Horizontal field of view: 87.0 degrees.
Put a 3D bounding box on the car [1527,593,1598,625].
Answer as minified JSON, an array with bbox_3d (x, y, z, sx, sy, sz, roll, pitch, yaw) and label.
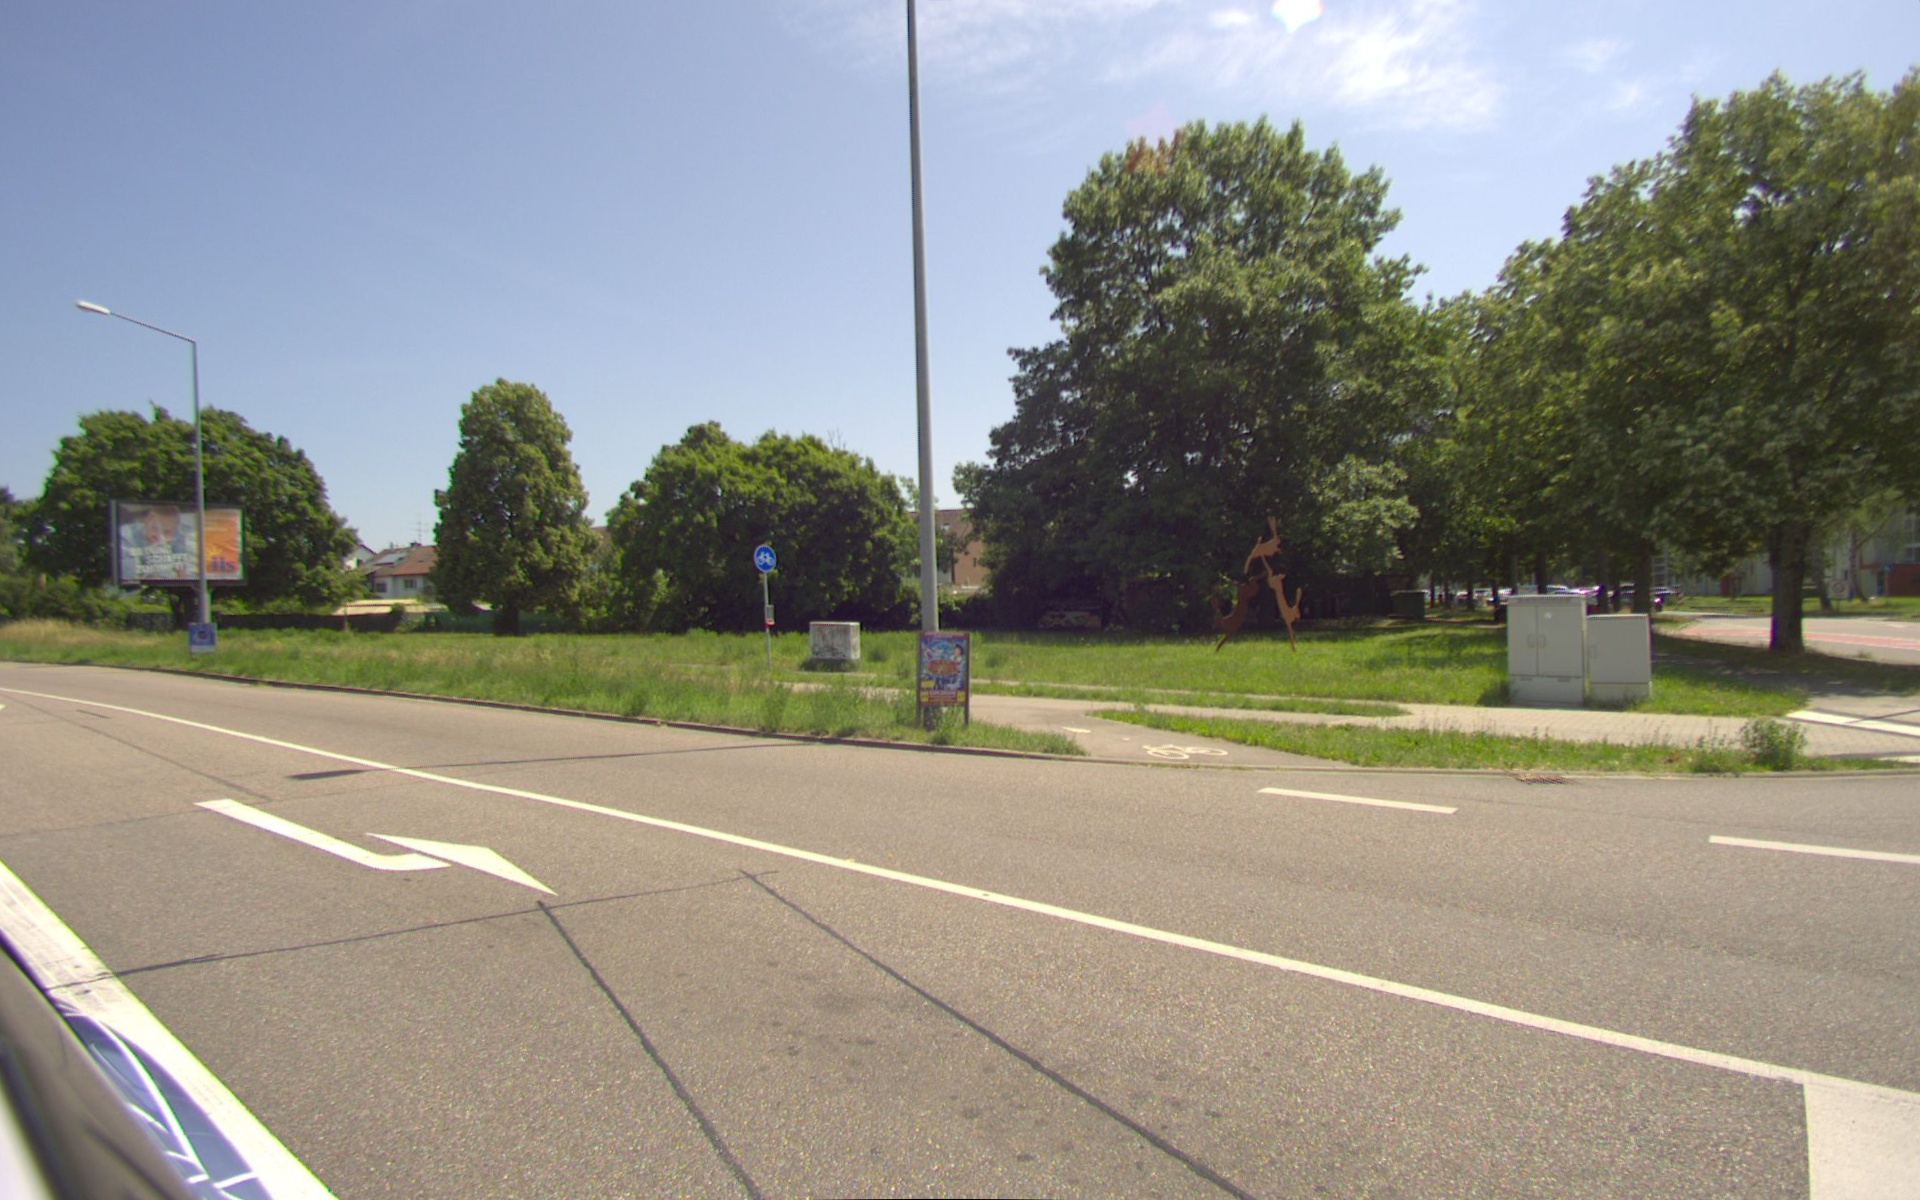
[{"bbox_3d":[42.801,0.623,72.012,3.971,2.028,1.987,-2,3,21],"label":"car"}]

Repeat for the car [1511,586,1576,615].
[{"bbox_3d":[44.654,0.049,77.571,3.971,2.028,1.987,-2,3,21],"label":"car"}]

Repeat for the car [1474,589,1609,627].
[{"bbox_3d":[24.841,0.358,43.383,1.966,1.479,4.597,-1,-1,-32],"label":"car"}]

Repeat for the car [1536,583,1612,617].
[{"bbox_3d":[41.160,-0.004,67.956,3.971,2.028,1.987,-2,3,21],"label":"car"}]
